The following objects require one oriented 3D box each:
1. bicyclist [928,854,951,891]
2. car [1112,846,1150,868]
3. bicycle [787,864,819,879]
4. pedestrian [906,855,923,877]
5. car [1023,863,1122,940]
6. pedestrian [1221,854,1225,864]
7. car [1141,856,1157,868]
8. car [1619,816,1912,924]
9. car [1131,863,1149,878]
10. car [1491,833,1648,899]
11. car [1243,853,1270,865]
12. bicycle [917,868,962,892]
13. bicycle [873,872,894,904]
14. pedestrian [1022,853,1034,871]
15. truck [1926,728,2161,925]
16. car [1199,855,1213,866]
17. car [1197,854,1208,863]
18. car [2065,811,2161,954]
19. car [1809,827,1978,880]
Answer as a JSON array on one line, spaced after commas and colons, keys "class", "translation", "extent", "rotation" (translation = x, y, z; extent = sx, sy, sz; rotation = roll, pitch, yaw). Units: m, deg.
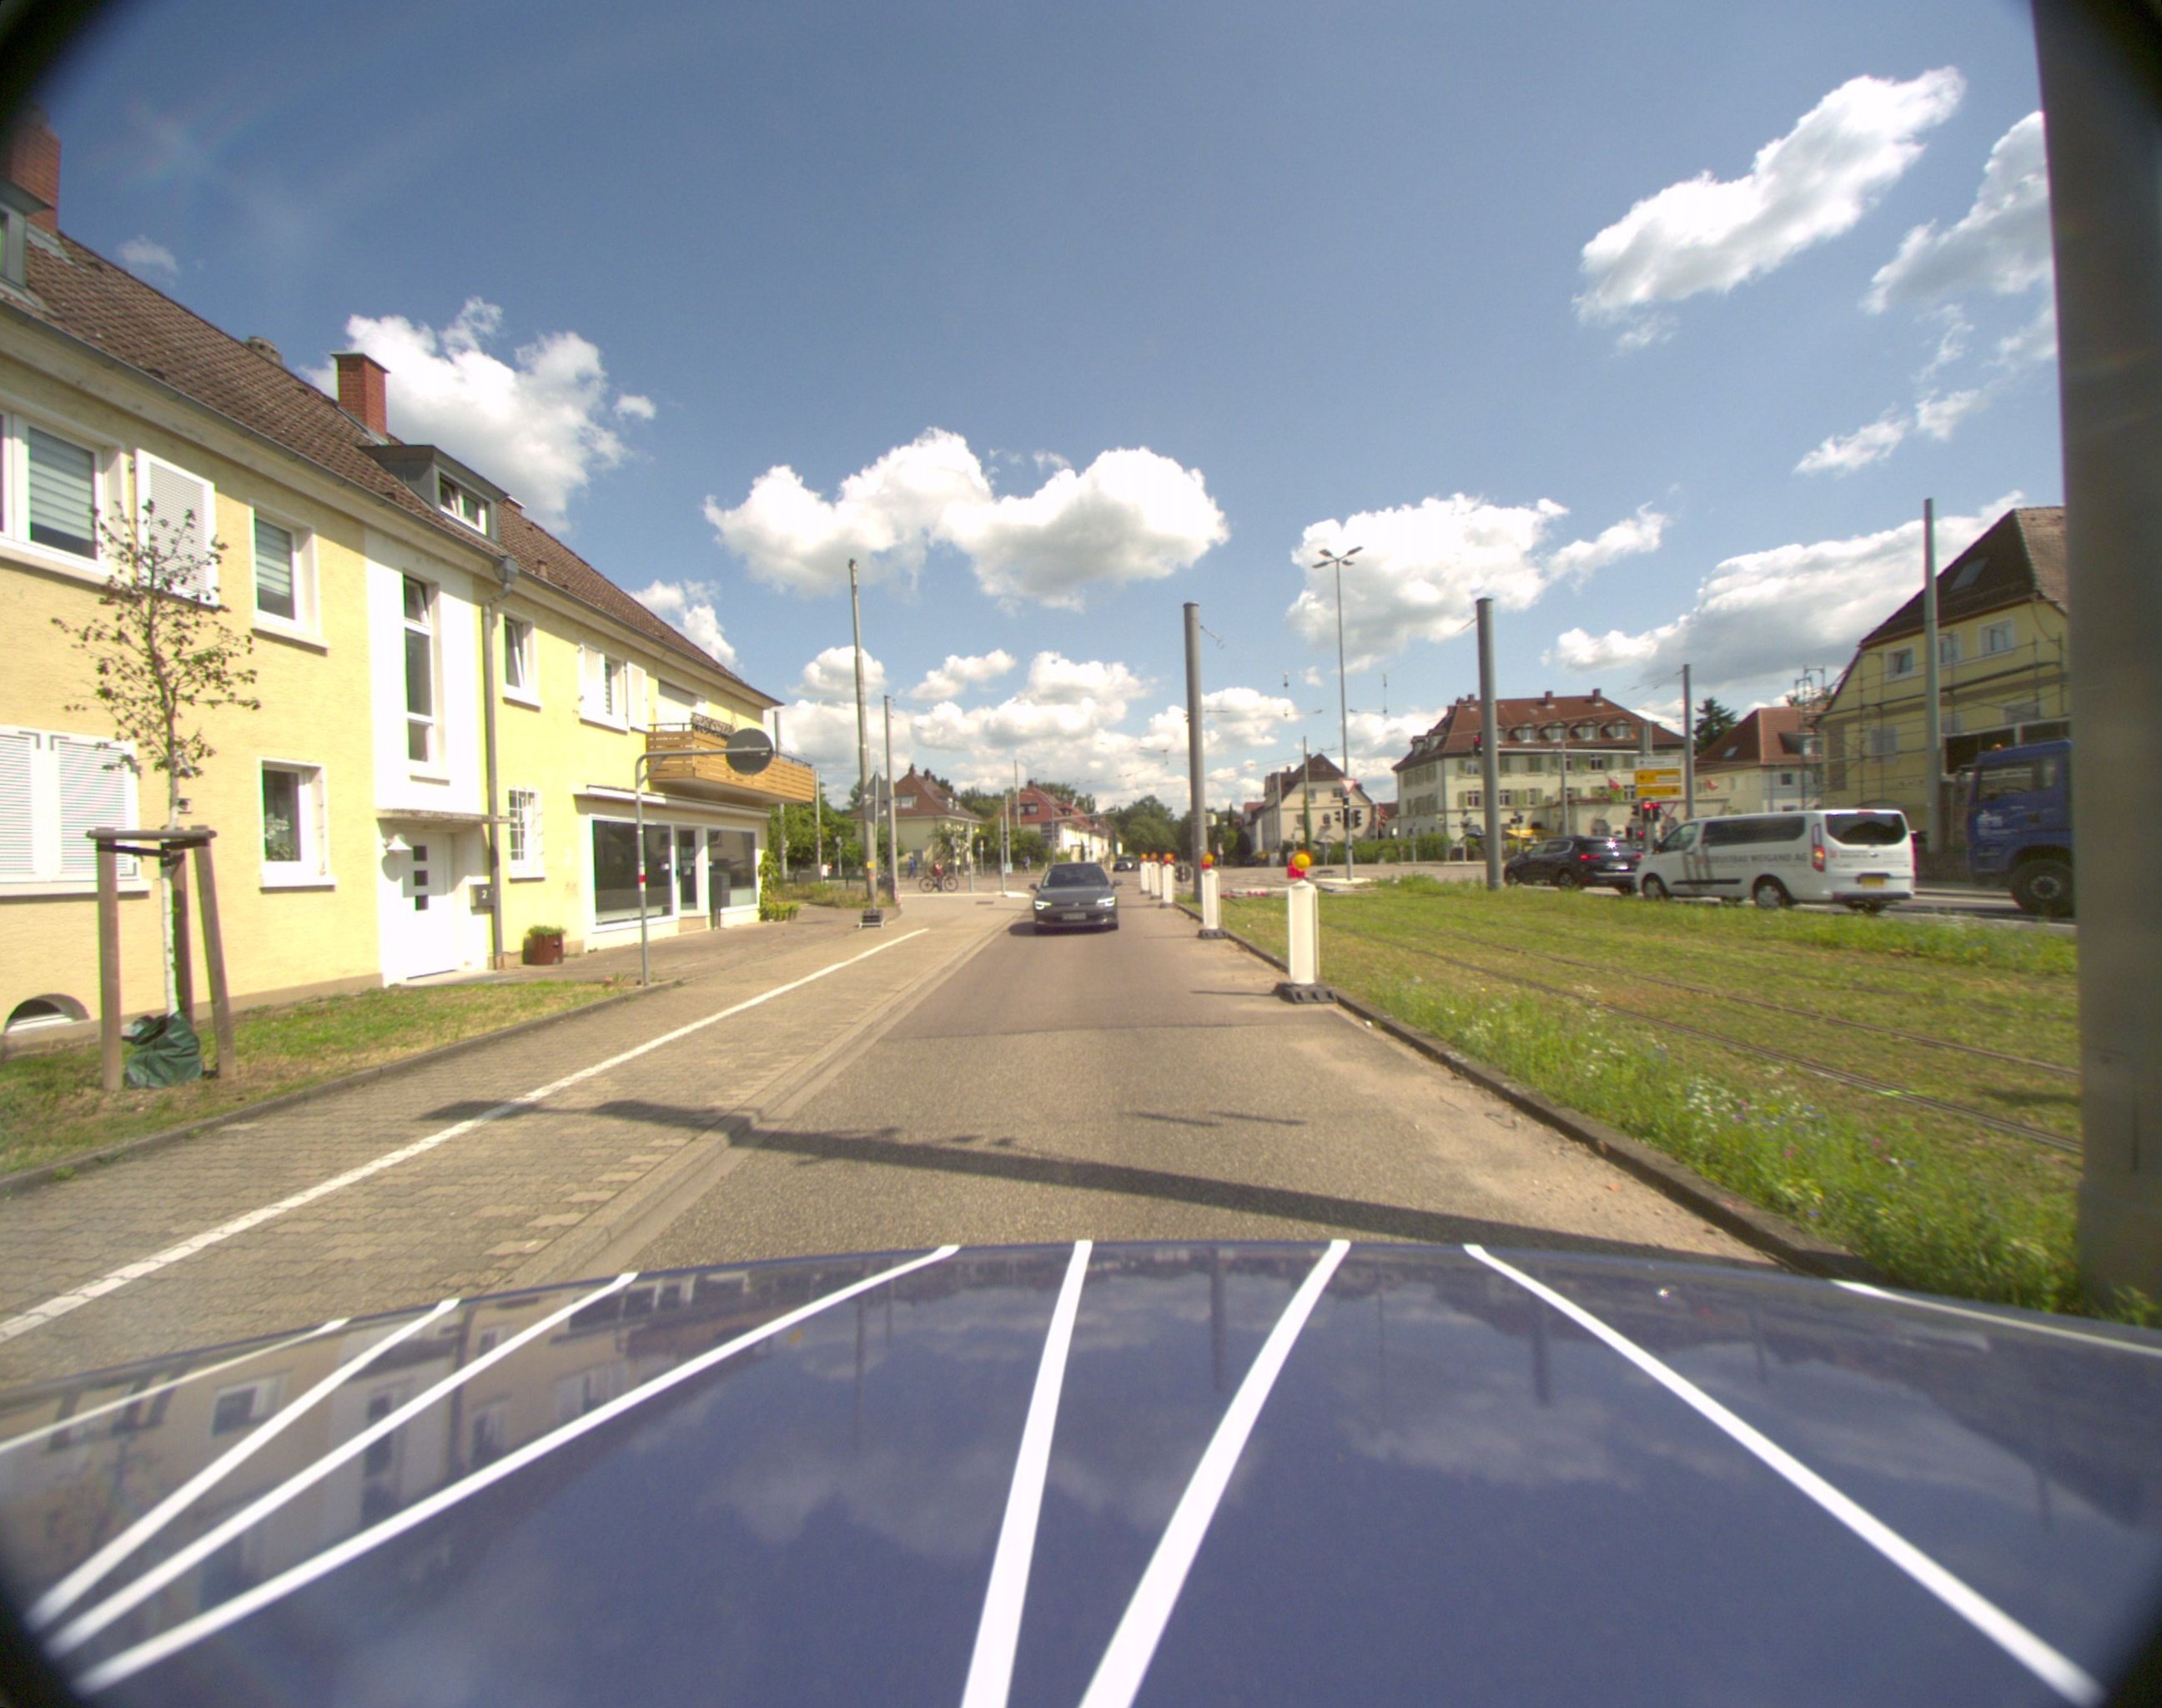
[{"class": "bicyclist", "translation": [-6.908, 0.902, 37.146], "extent": [0.961, 1.765, 0.718], "rotation": [-2, 1, -19]}, {"class": "car", "translation": [4.664, 0.241, 70.138], "extent": [1.773, 1.754, 4.881], "rotation": [-2, 1, 25]}, {"class": "bicycle", "translation": [-26.483, 1.630, 72.309], "extent": [2.800, 1.326, 0.623], "rotation": [-2, 0, -1]}, {"class": "pedestrian", "translation": [-13.057, 0.944, 59.733], "extent": [1.032, 1.724, 1.041], "rotation": [-2, 0, 3]}, {"class": "car", "translation": [-0.046, 0.975, 17.386], "extent": [1.766, 1.465, 4.689], "rotation": [-2, 0, 5]}, {"class": "pedestrian", "translation": [22.578, 0.806, 120.965], "extent": [0.631, 1.526, 0.618], "rotation": [-2, 0, 11]}, {"class": "car", "translation": [8.269, 0.990, 92.554], "extent": [1.708, 1.453, 3.157], "rotation": [-2, -1, 7]}, {"class": "car", "translation": [14.043, 0.285, 16.080], "extent": [1.819, 1.910, 4.747], "rotation": [-2, 0, -1]}, {"class": "car", "translation": [6.158, 1.734, 78.984], "extent": [1.709, 1.453, 3.156], "rotation": [-2, -1, 6]}, {"class": "car", "translation": [14.250, 0.342, 22.522], "extent": [1.791, 1.710, 4.441], "rotation": [-2, -1, 0]}, {"class": "car", "translation": [21.935, 0.617, 94.900], "extent": [1.757, 1.378, 4.111], "rotation": [-2, -1, 37]}, {"class": "bicycle", "translation": [-6.923, 1.254, 37.107], "extent": [2.035, 1.095, 0.714], "rotation": [-2, 1, -20]}, {"class": "bicycle", "translation": [-7.525, 1.267, 28.921], "extent": [0.595, 1.090, 2.273], "rotation": [-2, 0, -19]}, {"class": "pedestrian", "translation": [-5.116, 0.764, 73.611], "extent": [0.939, 1.757, 0.591], "rotation": [-1, 0, -42]}, {"class": "truck", "translation": [18.754, -0.477, 11.770], "extent": [2.776, 3.170, 7.581], "rotation": [-2, 0, -1]}, {"class": "car", "translation": [17.444, 0.941, 106.084], "extent": [1.708, 1.453, 3.156], "rotation": [-2, -1, 7]}, {"class": "car", "translation": [19.842, 0.755, 123.748], "extent": [1.708, 1.288, 3.921], "rotation": [-2, -1, 10]}, {"class": "car", "translation": [14.268, 0.336, 8.121], "extent": [1.737, 1.771, 4.404], "rotation": [-1, 0, -1]}, {"class": "car", "translation": [27.226, -0.009, 25.534], "extent": [4.145, 1.484, 1.435], "rotation": [-3, 0, -1]}]
